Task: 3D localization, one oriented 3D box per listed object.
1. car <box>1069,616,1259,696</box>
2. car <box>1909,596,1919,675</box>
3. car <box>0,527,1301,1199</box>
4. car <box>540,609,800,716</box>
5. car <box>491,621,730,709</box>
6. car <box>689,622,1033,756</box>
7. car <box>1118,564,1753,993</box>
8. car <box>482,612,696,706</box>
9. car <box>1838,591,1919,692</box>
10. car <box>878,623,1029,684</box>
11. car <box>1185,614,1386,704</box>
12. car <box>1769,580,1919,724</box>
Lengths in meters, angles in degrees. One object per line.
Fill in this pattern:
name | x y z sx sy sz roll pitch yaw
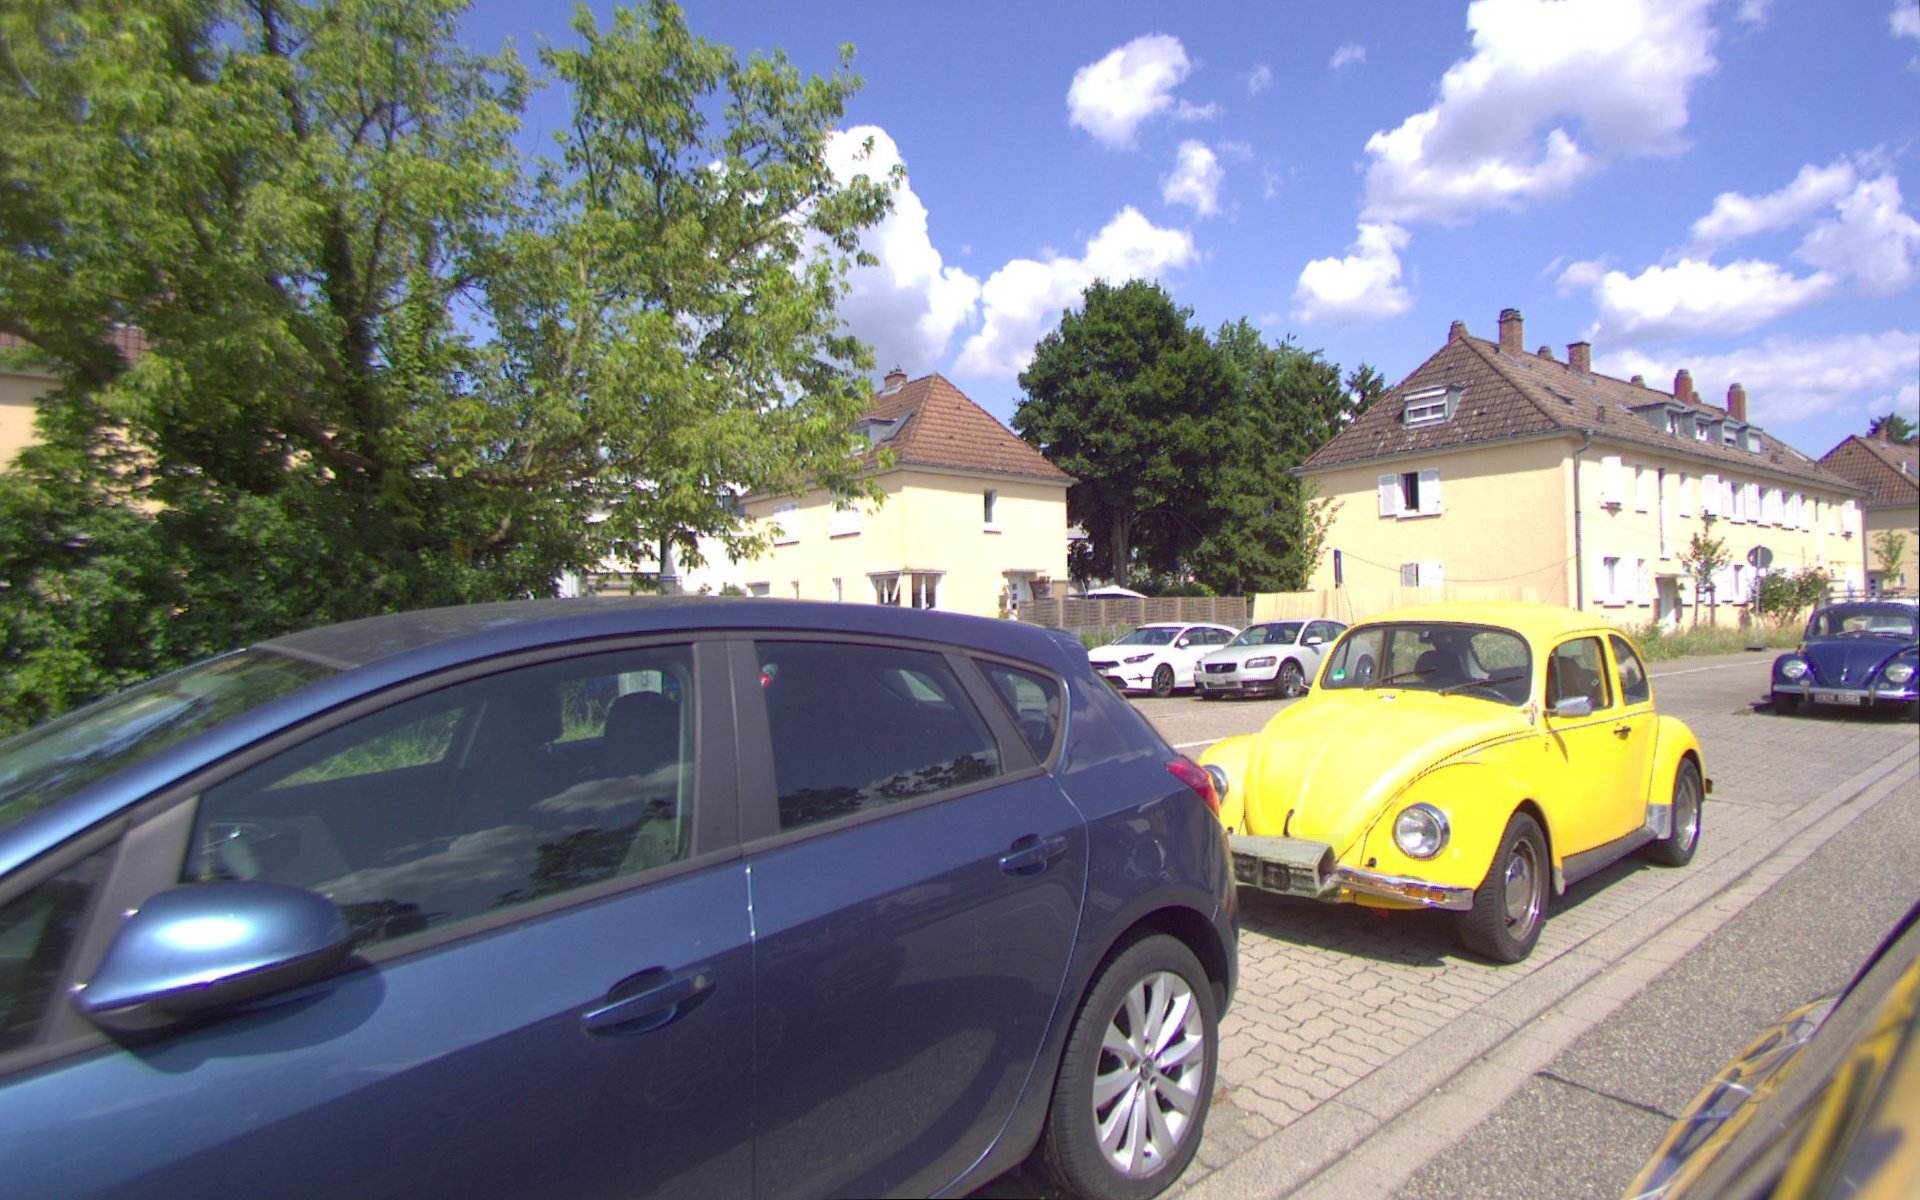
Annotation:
car | 4.138 1.052 20.167 4.017 1.391 1.638 0 -1 -42
car | 20.217 0.642 19.740 4.746 1.468 1.711 0 -1 -37
car | -1.084 0.696 2.097 4.054 1.501 1.637 0 -2 -43
car | -4.950 0.983 17.552 4.013 1.566 1.640 0 1 -39
car | -6.619 1.165 19.389 4.014 1.419 1.639 -1 -1 -39
car | -1.170 0.997 12.711 4.009 1.372 1.641 0 -1 -34
car | 2.753 0.625 5.430 3.862 1.501 1.639 1 1 -41
car | -8.013 1.204 22.022 4.015 1.686 1.639 -3 0 -39
car | 16.189 0.622 16.774 4.377 1.532 1.581 0 -1 -37
car | -0.098 1.331 25.729 1.633 1.392 4.029 -4 -3 39
car | 5.920 0.982 18.186 4.017 1.391 1.638 0 -1 -42
car | 12.321 0.610 13.524 4.171 1.662 1.551 0 -2 -40
